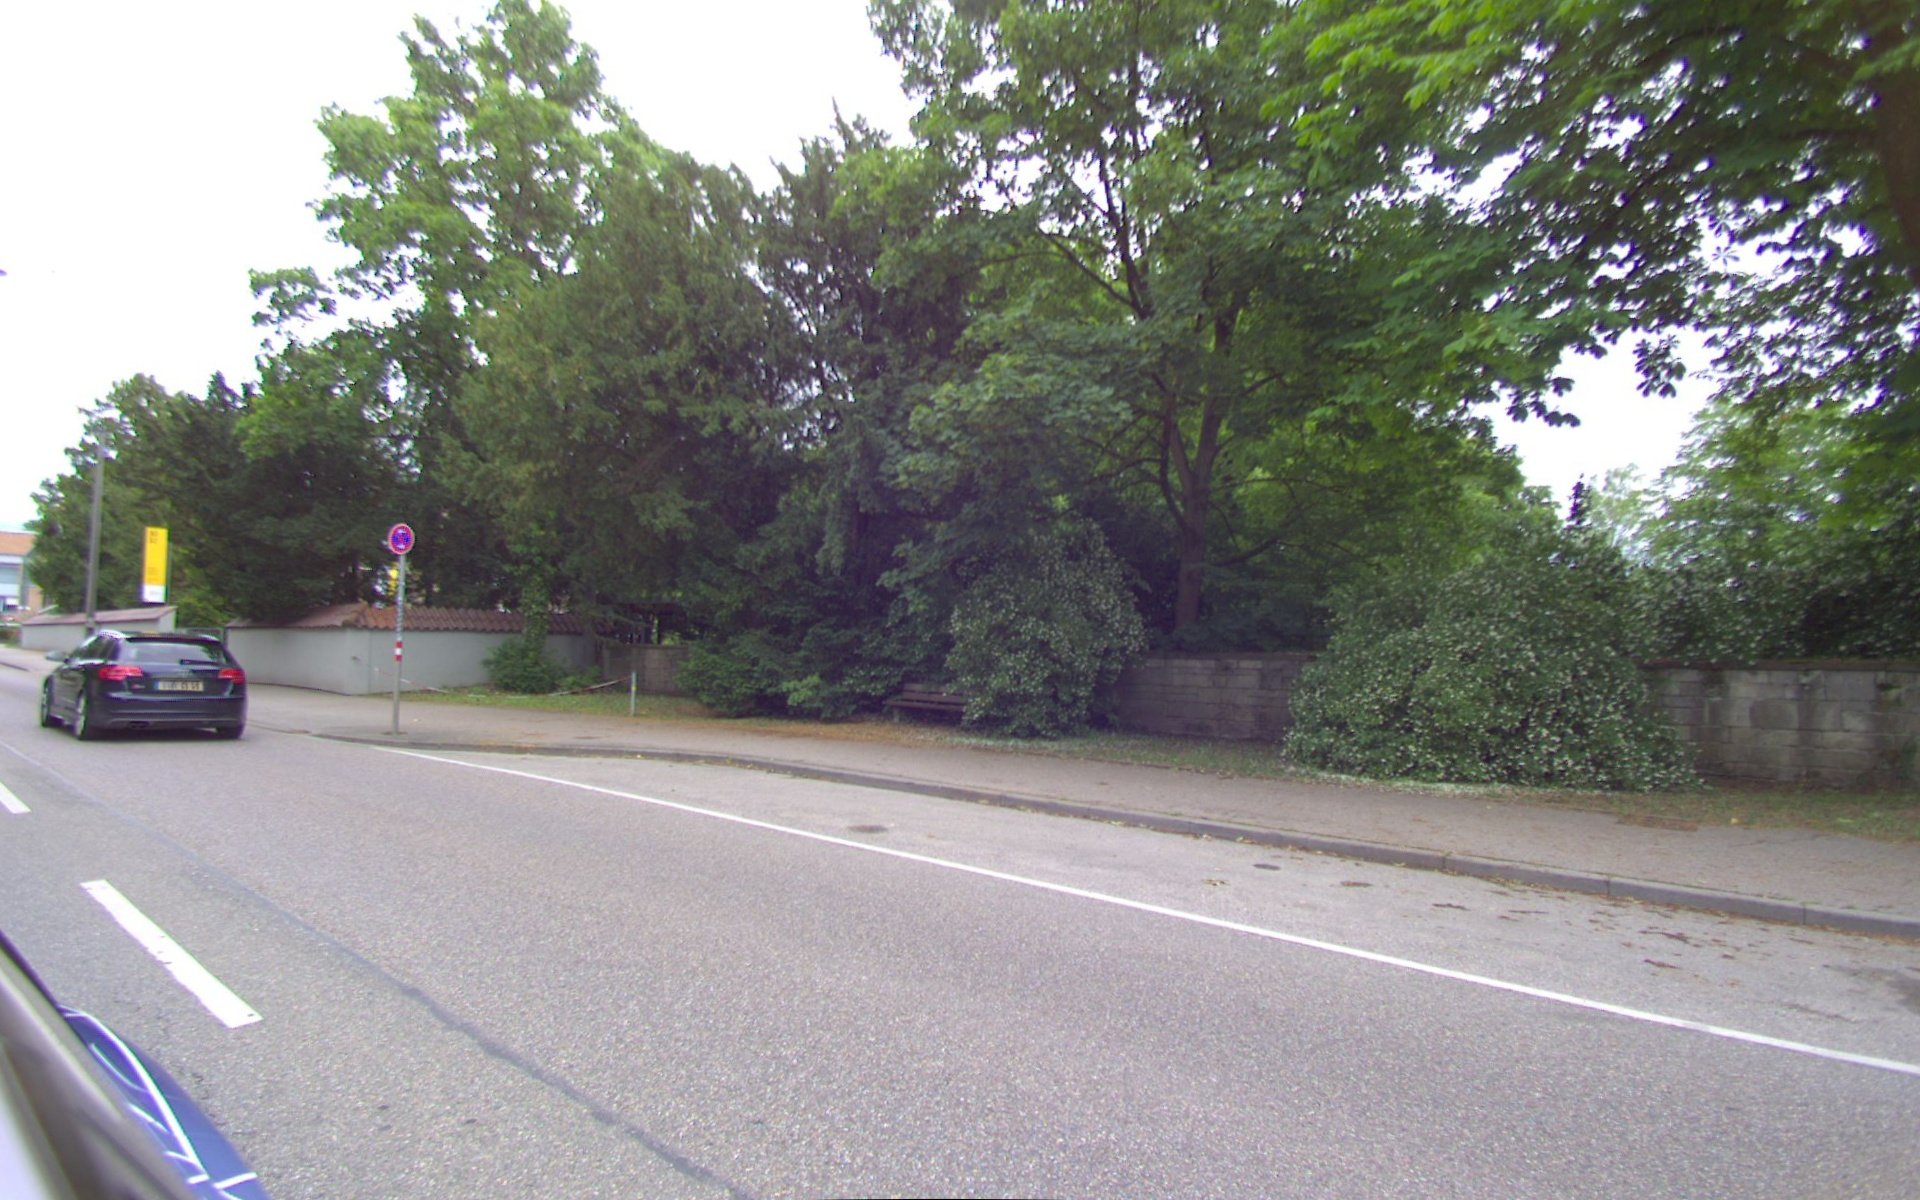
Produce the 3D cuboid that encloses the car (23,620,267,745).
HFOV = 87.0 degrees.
[{"bbox_3d":[-11.284,1.076,13.915,4.109,1.464,1.840,-1,-5,41],"label":"car"}]
